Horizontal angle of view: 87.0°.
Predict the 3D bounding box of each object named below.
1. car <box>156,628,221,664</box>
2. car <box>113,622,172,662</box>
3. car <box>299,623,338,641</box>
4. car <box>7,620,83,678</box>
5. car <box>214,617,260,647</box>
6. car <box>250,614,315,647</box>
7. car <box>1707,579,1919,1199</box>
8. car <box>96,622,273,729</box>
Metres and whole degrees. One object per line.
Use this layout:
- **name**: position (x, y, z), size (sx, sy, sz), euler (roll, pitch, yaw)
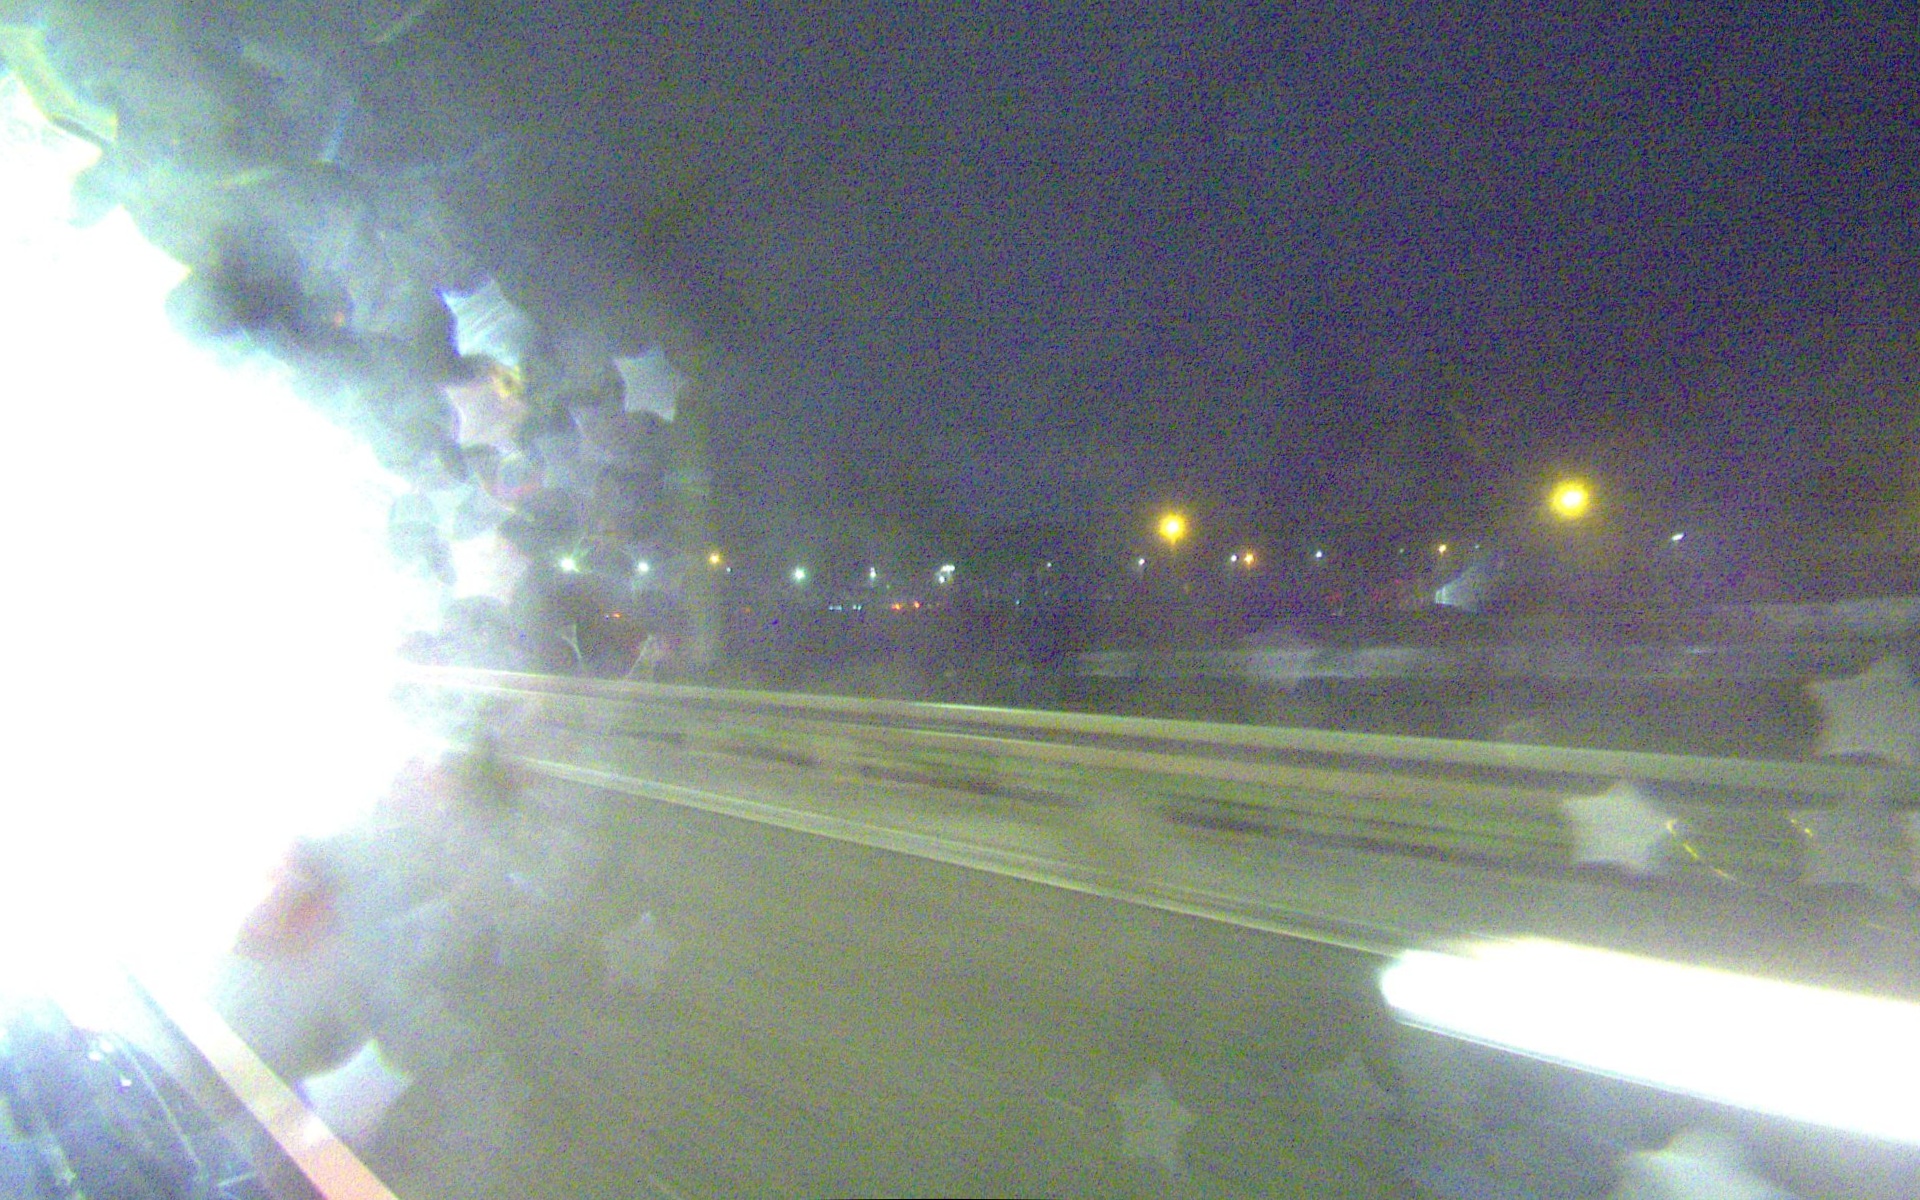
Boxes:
- **car**: position (-32.350, 1.898, 42.544), size (1.705, 1.415, 3.874), euler (0, -1, -30)
- **car**: position (-42.648, 2.186, 52.880), size (1.966, 1.949, 4.011), euler (-1, -1, -33)
- **car**: position (-55.798, 2.794, 88.092), size (1.966, 1.495, 4.012), euler (-1, -1, -18)
- **car**: position (-33.580, 1.758, 37.177), size (1.969, 1.949, 4.005), euler (-1, -1, -42)
- **car**: position (-49.380, 2.168, 69.178), size (1.965, 1.949, 4.013), euler (-1, -1, -28)
- **car**: position (-43.550, 1.942, 65.198), size (2.415, 2.003, 5.512), euler (-1, -1, -22)
- **car**: position (3.198, 0.651, 1.060), size (3.815, 1.443, 1.648), euler (-2, -1, 39)
- **car**: position (-12.311, 1.065, 15.944), size (1.771, 1.402, 4.596), euler (1, -1, -43)
